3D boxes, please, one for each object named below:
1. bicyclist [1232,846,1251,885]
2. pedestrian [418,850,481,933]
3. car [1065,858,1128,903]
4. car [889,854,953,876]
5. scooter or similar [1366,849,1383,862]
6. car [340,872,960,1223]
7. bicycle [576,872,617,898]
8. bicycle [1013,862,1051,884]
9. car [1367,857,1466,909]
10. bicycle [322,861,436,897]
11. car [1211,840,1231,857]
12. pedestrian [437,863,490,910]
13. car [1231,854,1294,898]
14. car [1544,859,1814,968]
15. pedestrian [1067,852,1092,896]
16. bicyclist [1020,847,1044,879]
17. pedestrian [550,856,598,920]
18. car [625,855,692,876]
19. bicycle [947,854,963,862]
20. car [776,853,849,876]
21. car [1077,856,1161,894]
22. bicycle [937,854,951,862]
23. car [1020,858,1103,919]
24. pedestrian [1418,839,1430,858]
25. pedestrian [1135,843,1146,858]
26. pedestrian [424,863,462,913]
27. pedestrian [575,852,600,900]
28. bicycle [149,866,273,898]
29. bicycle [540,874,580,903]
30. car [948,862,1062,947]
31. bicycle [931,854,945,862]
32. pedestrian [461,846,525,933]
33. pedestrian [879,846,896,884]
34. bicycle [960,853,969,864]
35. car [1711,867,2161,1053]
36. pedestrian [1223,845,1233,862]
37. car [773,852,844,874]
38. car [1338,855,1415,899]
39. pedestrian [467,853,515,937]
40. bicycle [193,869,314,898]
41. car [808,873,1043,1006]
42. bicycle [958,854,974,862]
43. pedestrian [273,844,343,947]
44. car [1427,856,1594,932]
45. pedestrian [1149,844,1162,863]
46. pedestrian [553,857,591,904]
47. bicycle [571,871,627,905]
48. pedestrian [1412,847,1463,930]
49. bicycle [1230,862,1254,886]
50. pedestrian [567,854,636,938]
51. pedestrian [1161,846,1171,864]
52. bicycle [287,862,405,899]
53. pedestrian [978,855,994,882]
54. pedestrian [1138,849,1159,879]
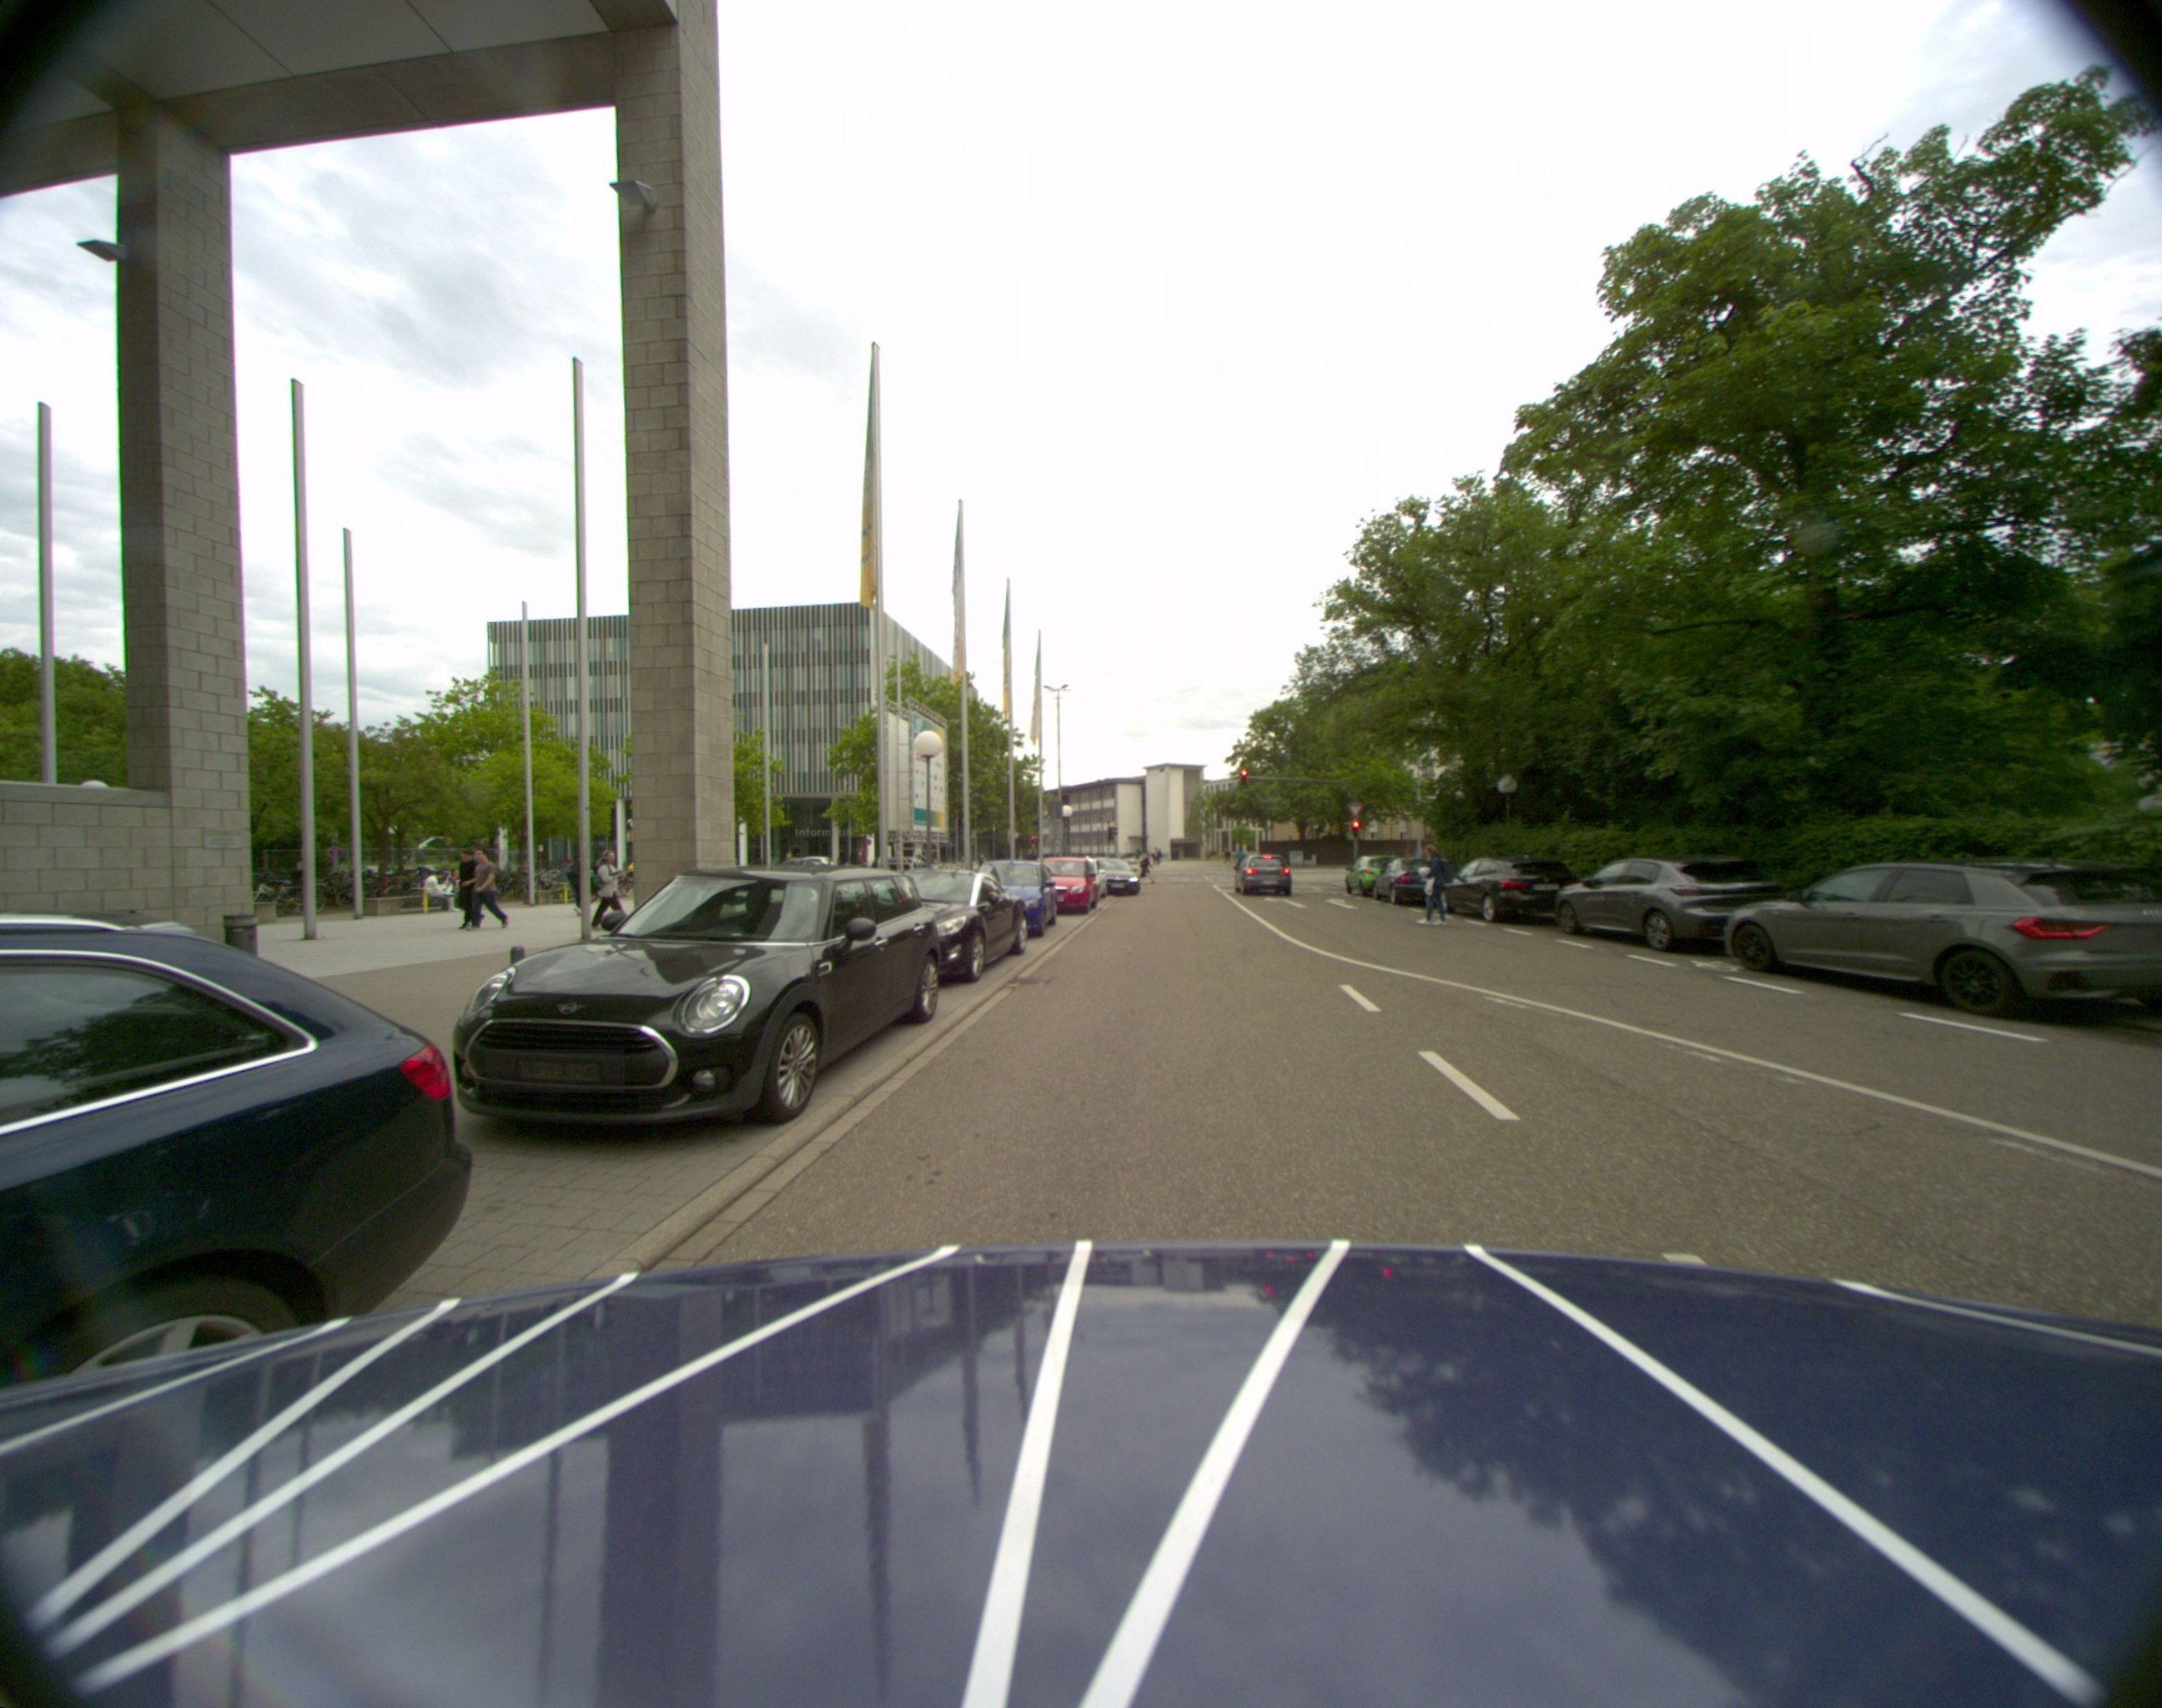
[{"bbox_3d":[7.391,0.522,34.981,0.659,1.769,0.983,0,1,-1],"label":"bicyclist"},{"bbox_3d":[-13.415,0.787,16.149,0.906,1.702,0.696,2,-1,31],"label":"pedestrian"},{"bbox_3d":[0.618,0.886,26.912,1.864,1.444,3.860,-1,0,6],"label":"car"},{"bbox_3d":[-12.028,0.814,57.193,4.287,1.481,2.001,-1,1,6],"label":"car"},{"bbox_3d":[27.078,0.135,70.120,1.410,1.223,0.496,0,3,25],"label":"scooter or similar"},{"bbox_3d":[-2.395,0.934,5.779,1.821,1.435,4.522,1,0,5],"label":"car"},{"bbox_3d":[-20.924,1.340,32.843,0.457,1.043,1.936,0,0,2],"label":"bicycle"},{"bbox_3d":[-2.509,0.966,39.130,1.805,1.087,0.874,-1,0,-42],"label":"bicycle"},{"bbox_3d":[10.167,0.816,23.375,1.801,1.400,4.339,0,1,10],"label":"car"},{"bbox_3d":[-24.135,0.859,26.254,0.747,1.163,3.111,-2,-2,8],"label":"bicycle"},{"bbox_3d":[19.878,-0.727,107.451,1.997,1.570,4.413,-9,-9,17],"label":"car"},{"bbox_3d":[-19.215,1.003,23.673,0.852,1.412,0.968,-1,1,-5],"label":"pedestrian"},{"bbox_3d":[6.726,0.771,28.488,1.786,1.488,4.169,0,1,6],"label":"car"},{"bbox_3d":[9.565,0.847,12.604,1.765,1.463,3.826,0,1,6],"label":"car"},{"bbox_3d":[-0.066,0.834,31.607,0.792,1.777,0.822,0,1,18],"label":"pedestrian"},{"bbox_3d":[-2.508,0.468,39.129,0.870,1.631,0.874,-1,0,-42],"label":"bicyclist"},{"bbox_3d":[-13.523,0.901,20.294,0.757,1.660,0.706,-1,0,8],"label":"pedestrian"},{"bbox_3d":[-33.282,0.885,59.953,4.190,1.608,2.000,-1,1,3],"label":"car"},{"bbox_3d":[-14.030,0.422,84.754,2.004,0.931,0.485,1,2,38],"label":"bicycle"},{"bbox_3d":[-20.616,0.776,58.525,4.834,1.653,2.000,-1,1,4],"label":"car"},{"bbox_3d":[1.483,0.825,31.671,1.868,1.393,4.470,2,0,-20],"label":"car"},{"bbox_3d":[-15.202,0.436,84.451,0.550,0.931,2.004,-2,2,-44],"label":"bicycle"},{"bbox_3d":[-0.442,0.892,21.400,1.715,1.465,4.276,2,0,6],"label":"car"},{"bbox_3d":[30.279,-0.484,67.086,0.642,1.684,0.779,-1,2,-3],"label":"pedestrian"},{"bbox_3d":[6.665,-0.426,85.058,0.951,1.705,0.905,-1,2,-11],"label":"pedestrian"},{"bbox_3d":[-19.022,1.000,22.669,0.674,1.405,0.768,-1,1,-25],"label":"pedestrian"},{"bbox_3d":[-19.117,0.830,29.438,0.675,1.823,0.510,-2,2,-43],"label":"pedestrian"},{"bbox_3d":[-37.359,1.178,32.737,1.054,1.163,3.396,-1,1,12],"label":"bicycle"},{"bbox_3d":[-20.339,1.320,29.698,0.457,1.043,1.934,0,0,-7],"label":"bicycle"},{"bbox_3d":[-1.415,0.924,15.808,1.699,1.403,4.377,0,1,3],"label":"car"},{"bbox_3d":[-15.782,0.435,83.989,0.485,0.931,2.004,-2,2,-44],"label":"bicycle"},{"bbox_3d":[-12.432,0.729,16.084,0.764,1.775,0.736,-1,1,-7],"label":"pedestrian"},{"bbox_3d":[-9.017,0.507,35.369,0.674,1.705,0.677,-1,1,-19],"label":"pedestrian"},{"bbox_3d":[-11.918,0.451,77.642,0.484,1.039,1.780,-1,2,-22],"label":"bicycle"},{"bbox_3d":[9.059,0.880,8.001,1.767,1.403,4.010,-1,0,5],"label":"car"},{"bbox_3d":[13.891,-0.037,71.966,0.807,1.654,0.792,-1,-1,19],"label":"pedestrian"},{"bbox_3d":[-23.702,0.813,66.169,5.368,1.687,2.049,-2,-2,5],"label":"car"},{"bbox_3d":[10.974,0.806,28.494,1.801,1.461,4.250,0,1,8],"label":"car"},{"bbox_3d":[-12.435,0.843,16.008,0.779,1.702,0.649,2,0,44],"label":"pedestrian"},{"bbox_3d":[-35.021,1.245,32.260,1.054,1.163,3.398,-2,-2,12],"label":"bicycle"},{"bbox_3d":[-1.861,1.003,10.644,1.852,1.433,4.422,-1,-1,8],"label":"car"},{"bbox_3d":[-12.980,0.424,85.604,2.004,0.931,0.485,1,2,38],"label":"bicycle"},{"bbox_3d":[-14.014,0.742,13.789,0.592,1.830,0.620,0,1,7],"label":"pedestrian"},{"bbox_3d":[9.841,0.823,17.864,1.801,1.552,4.532,0,0,6],"label":"car"},{"bbox_3d":[7.280,-0.062,74.186,0.847,1.778,0.892,-1,1,-36],"label":"pedestrian"},{"bbox_3d":[-18.780,0.958,28.054,0.853,1.694,0.967,0,1,-14],"label":"pedestrian"},{"bbox_3d":[-17.703,1.235,27.976,0.457,1.163,2.415,-2,-2,2],"label":"bicycle"},{"bbox_3d":[7.318,0.694,15.646,0.740,1.652,0.969,0,0,11],"label":"pedestrian"},{"bbox_3d":[7.397,0.891,34.994,0.659,1.031,1.857,0,1,-1],"label":"bicycle"},{"bbox_3d":[-9.687,0.848,15.378,0.736,1.631,0.932,-2,-2,5],"label":"pedestrian"},{"bbox_3d":[8.054,0.118,72.207,0.619,1.656,0.623,-2,1,-33],"label":"pedestrian"},{"bbox_3d":[-25.304,0.880,26.277,0.747,1.163,3.109,-1,0,8],"label":"bicycle"},{"bbox_3d":[-5.993,0.894,47.975,0.756,1.619,0.793,2,6,10],"label":"pedestrian"},{"bbox_3d":[3.663,0.549,41.355,1.044,1.610,0.657,-1,1,-5],"label":"pedestrian"}]
